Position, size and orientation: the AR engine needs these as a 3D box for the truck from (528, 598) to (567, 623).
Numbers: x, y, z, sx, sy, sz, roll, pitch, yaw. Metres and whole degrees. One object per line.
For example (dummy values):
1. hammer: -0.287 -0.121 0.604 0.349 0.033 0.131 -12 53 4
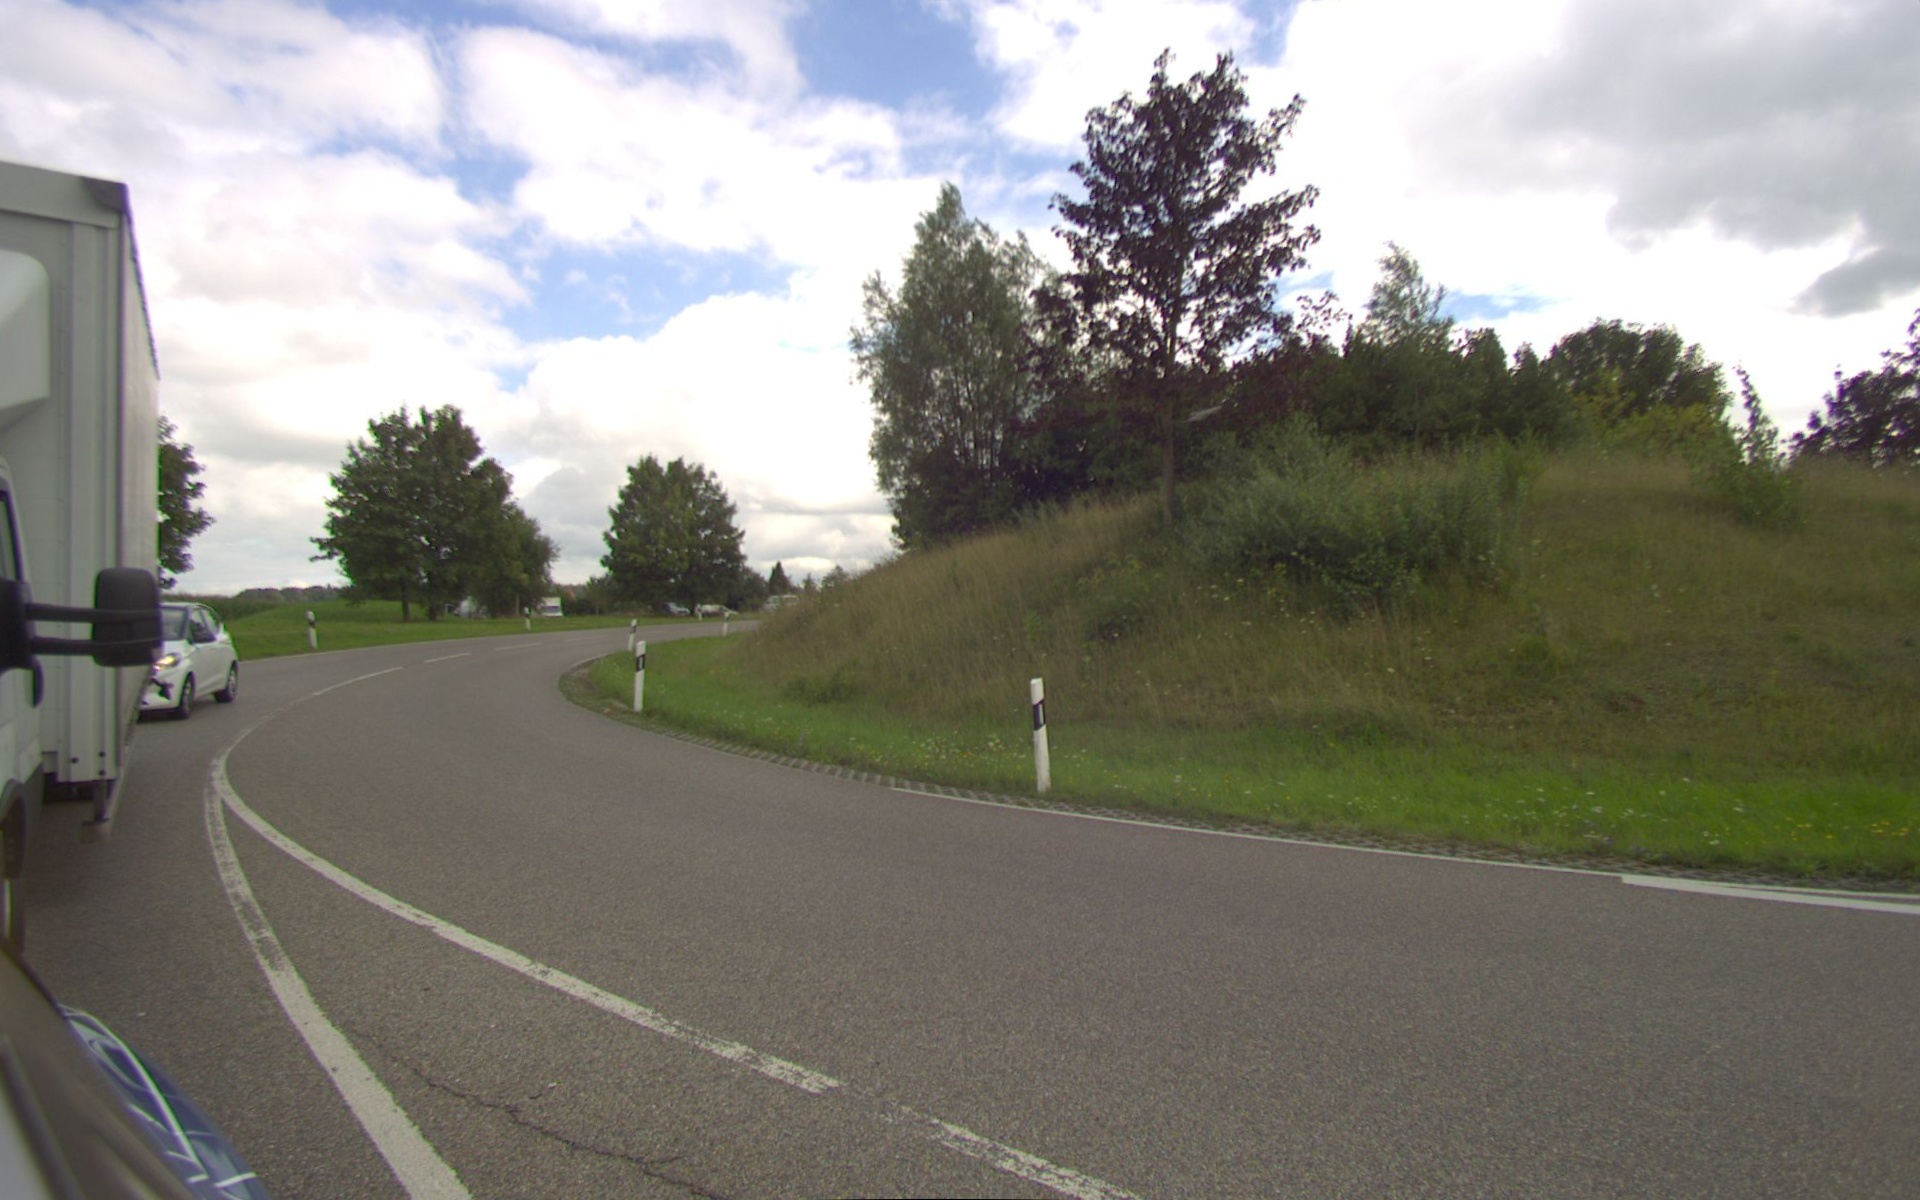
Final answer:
1. truck: -40.814 1.064 100.051 2.254 2.439 6.398 -1 -1 -34

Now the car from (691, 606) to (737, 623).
1. car: -25.612 1.518 105.433 4.328 1.597 2.007 -1 -1 -23

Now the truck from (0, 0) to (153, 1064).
1. truck: -6.401 -0.461 5.732 2.794 3.792 8.816 1 -2 -38

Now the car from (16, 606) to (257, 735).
1. car: -11.224 0.876 14.116 1.721 1.477 4.013 -1 -1 -26
